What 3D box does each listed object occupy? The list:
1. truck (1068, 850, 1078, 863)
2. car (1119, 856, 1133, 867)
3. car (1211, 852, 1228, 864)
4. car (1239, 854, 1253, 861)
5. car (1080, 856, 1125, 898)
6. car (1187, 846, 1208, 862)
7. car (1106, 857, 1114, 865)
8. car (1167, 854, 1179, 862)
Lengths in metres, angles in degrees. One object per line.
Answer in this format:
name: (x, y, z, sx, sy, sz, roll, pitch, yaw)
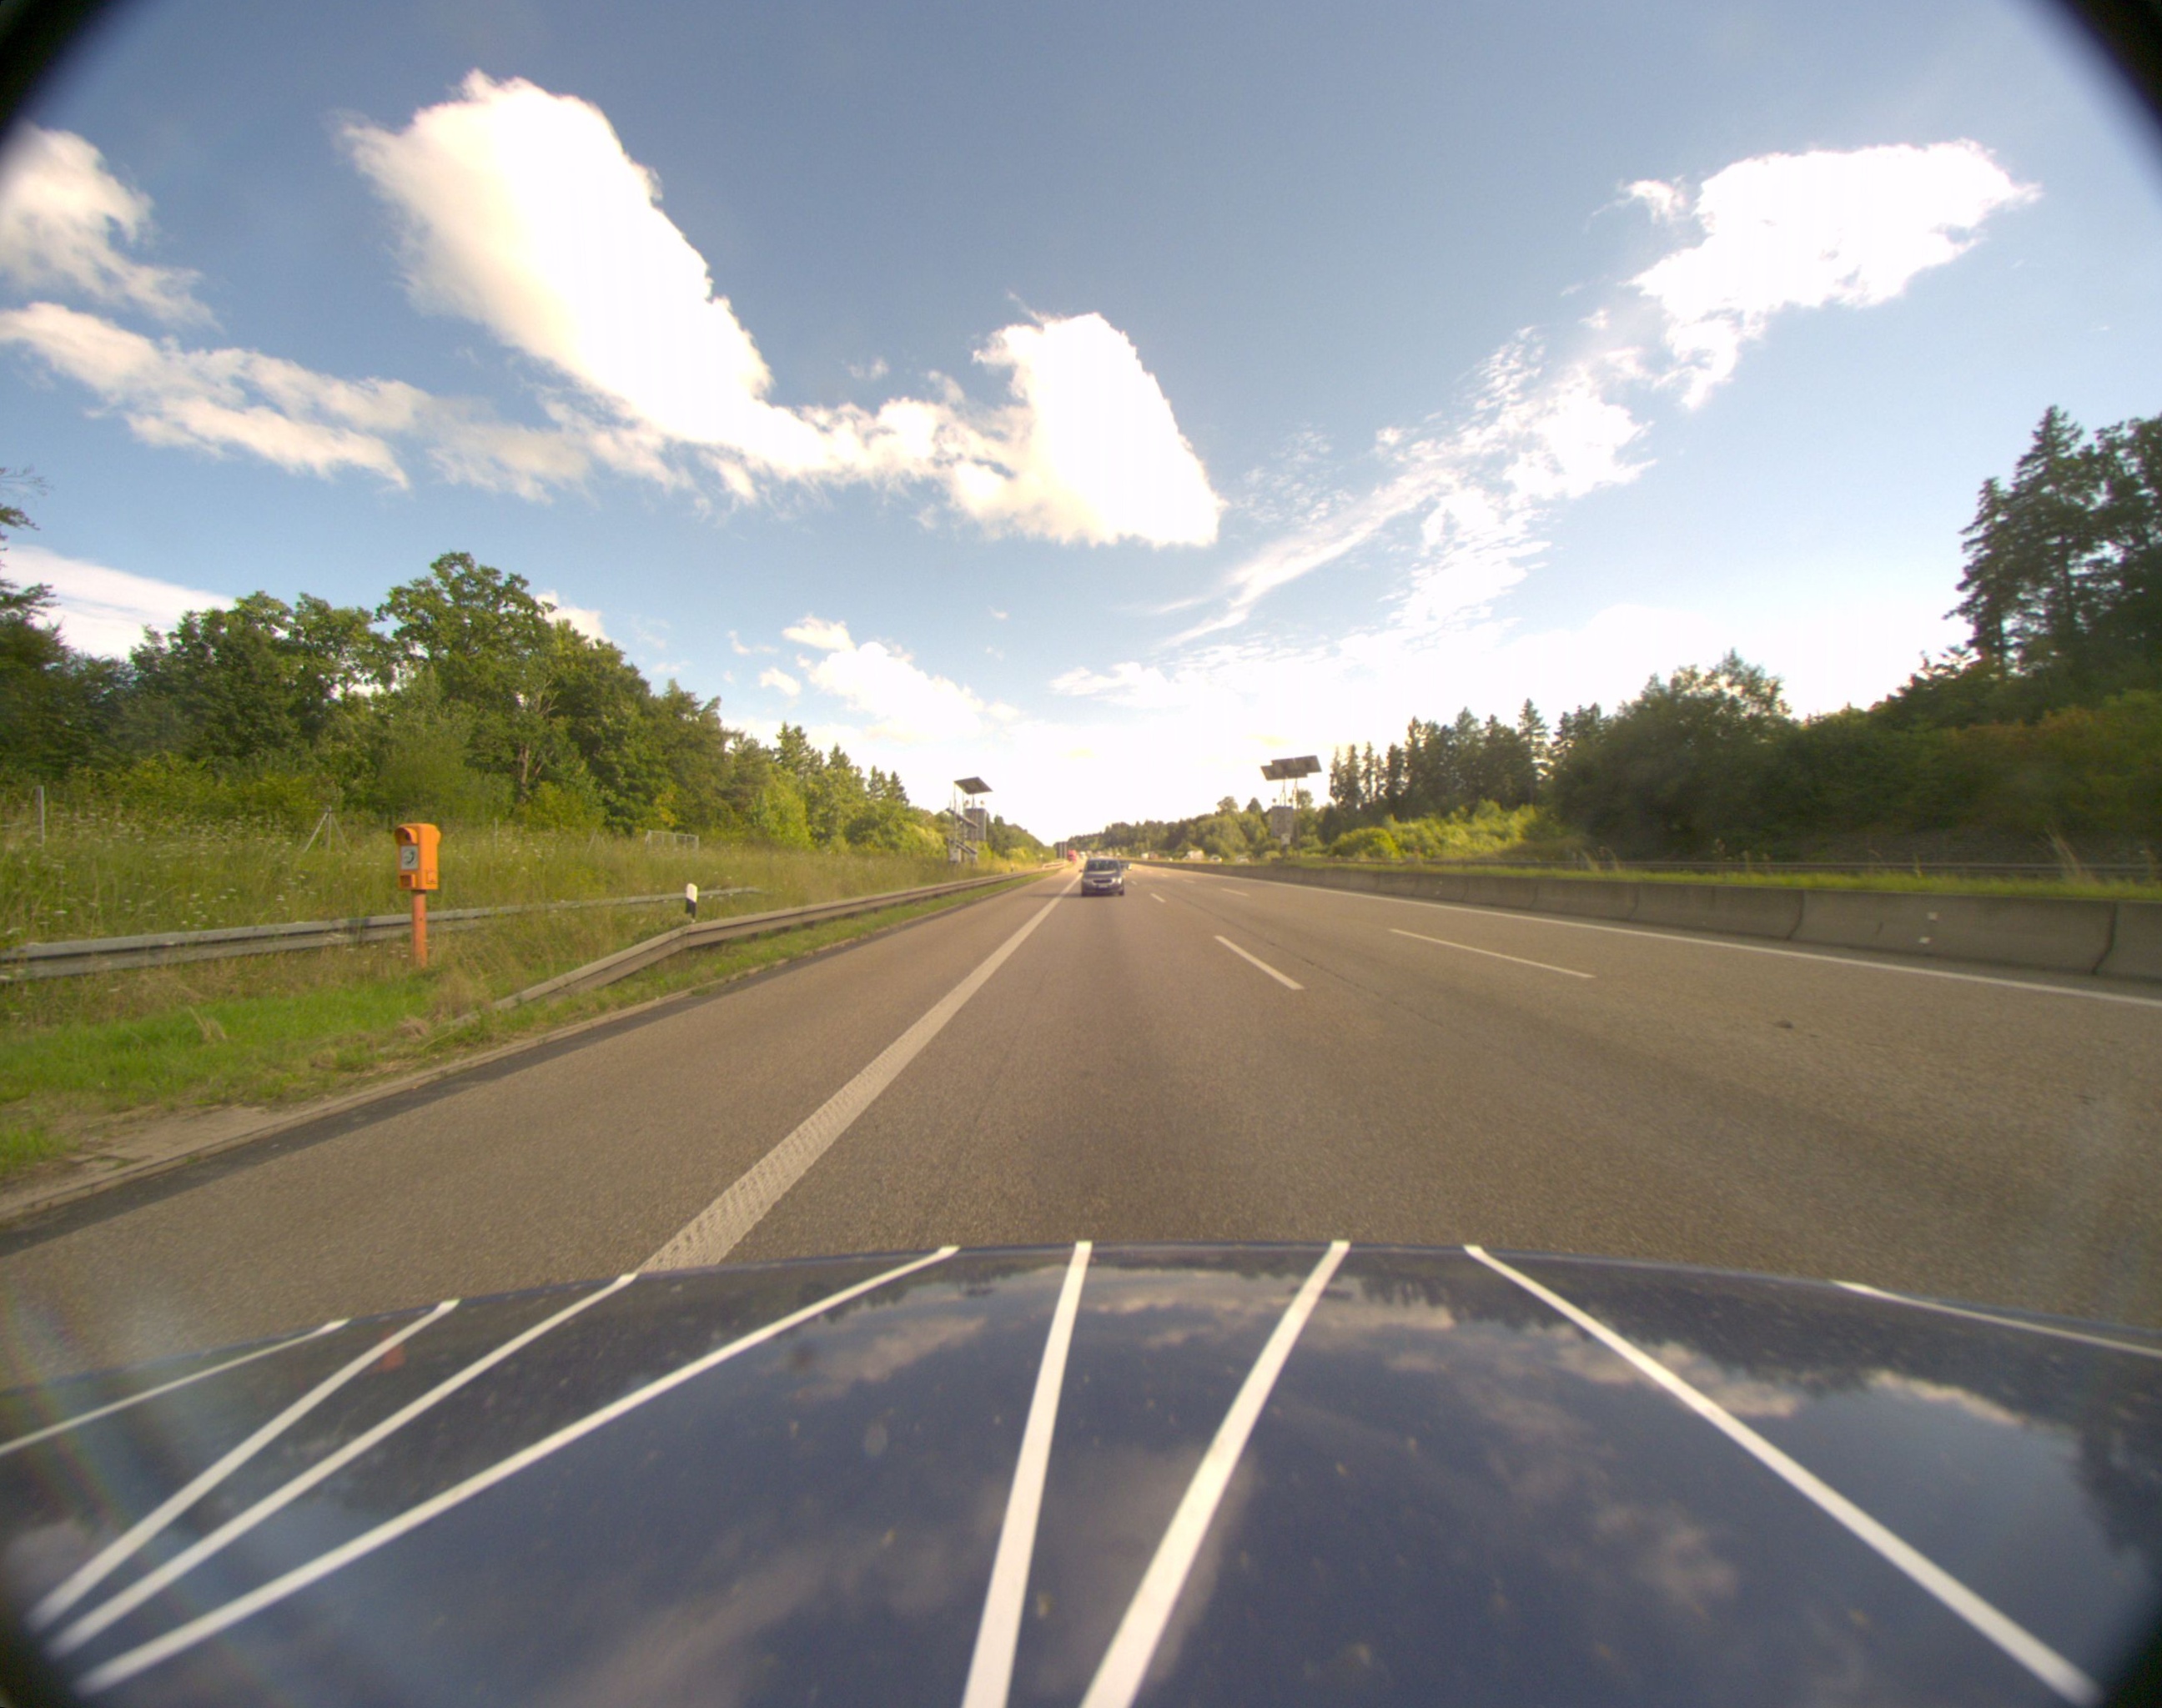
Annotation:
truck: (-2.491, 0.692, 243.397, 2.880, 3.871, 8.959, -2, 0, 1)
car: (5.956, 0.986, 100.296, 1.748, 1.276, 4.199, -1, 0, 2)
car: (22.878, 0.660, 125.593, 1.929, 1.795, 4.493, -1, 0, 2)
car: (26.293, 0.498, 121.162, 1.595, 1.087, 3.173, -1, 0, 2)
car: (0.934, 0.918, 32.232, 1.741, 1.608, 4.083, -1, 0, 2)
car: (18.744, 0.017, 122.025, 2.585, 2.332, 5.829, -1, 0, 2)
car: (7.324, 1.744, 191.480, 1.998, 2.002, 4.000, -1, 0, 1)
car: (24.180, 1.063, 200.206, 2.585, 2.126, 5.966, -1, 0, 2)
